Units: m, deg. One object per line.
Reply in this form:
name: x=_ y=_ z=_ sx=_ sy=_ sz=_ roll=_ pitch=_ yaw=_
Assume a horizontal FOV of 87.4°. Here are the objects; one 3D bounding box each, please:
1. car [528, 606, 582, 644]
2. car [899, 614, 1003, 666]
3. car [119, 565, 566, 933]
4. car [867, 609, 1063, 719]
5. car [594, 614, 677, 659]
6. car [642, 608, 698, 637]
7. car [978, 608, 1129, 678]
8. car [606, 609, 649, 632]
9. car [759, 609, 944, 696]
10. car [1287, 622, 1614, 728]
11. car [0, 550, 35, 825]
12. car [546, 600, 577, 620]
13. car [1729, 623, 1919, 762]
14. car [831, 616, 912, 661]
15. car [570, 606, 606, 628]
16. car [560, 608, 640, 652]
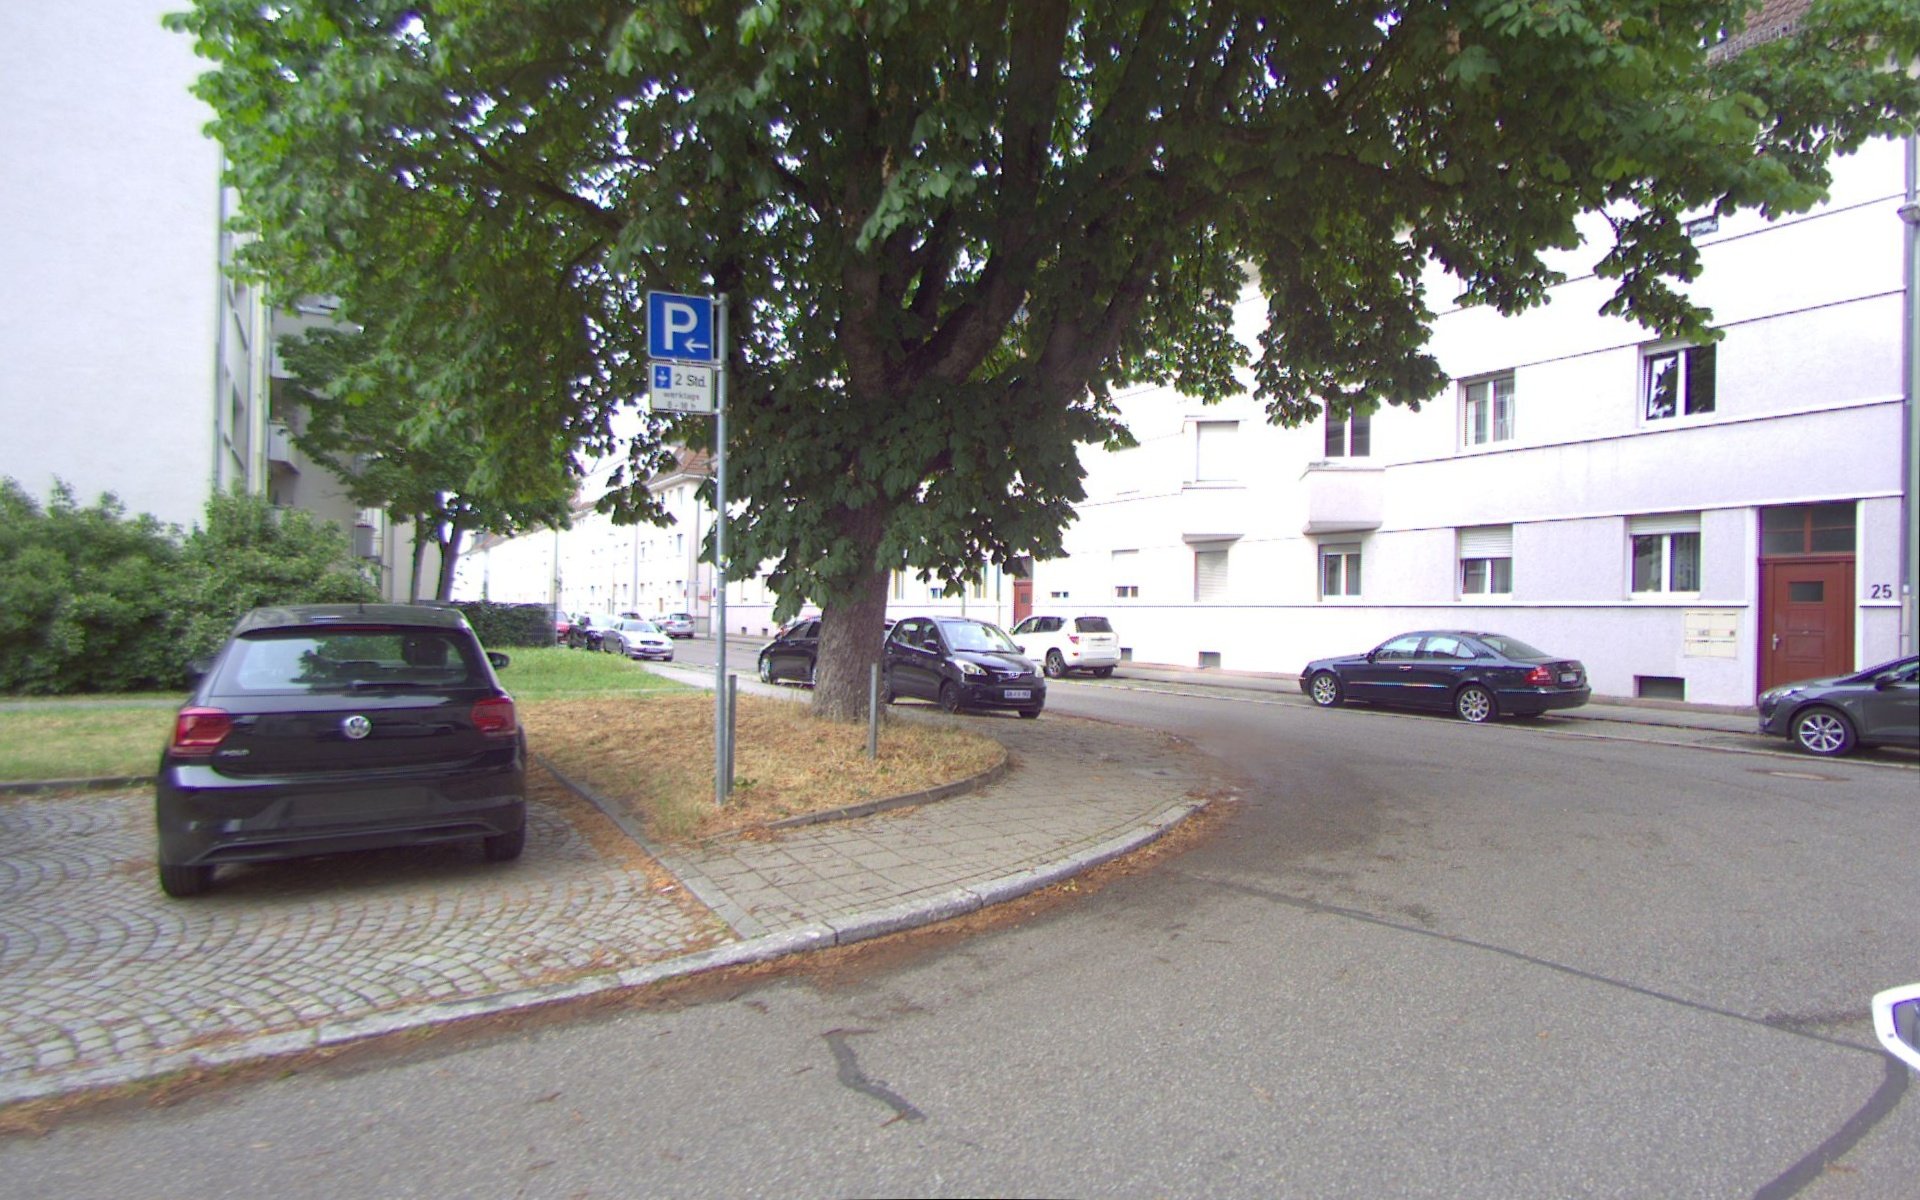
car: x=-18.712 y=1.139 z=46.303 sx=1.552 sy=1.589 sz=3.608 roll=5 pitch=-2 yaw=-33
car: x=-0.342 y=1.225 z=31.877 sx=1.554 sy=1.498 sz=3.838 roll=1 pitch=0 yaw=-31
car: x=-3.802 y=0.668 z=6.481 sx=1.809 sy=1.598 sz=3.812 roll=1 pitch=-1 yaw=-30
car: x=-0.029 y=0.958 z=16.068 sx=1.512 sy=1.513 sz=3.563 roll=4 pitch=-2 yaw=-29
car: x=-10.859 y=1.187 z=33.470 sx=1.684 sy=1.275 sz=3.980 roll=4 pitch=-2 yaw=-32
car: x=-16.378 y=1.243 z=56.621 sx=1.743 sy=1.487 sz=4.557 roll=3 pitch=-1 yaw=-34
car: x=2.447 y=1.099 z=27.258 sx=1.829 sy=1.696 sz=4.248 roll=0 pitch=0 yaw=-34
car: x=-21.790 y=1.303 z=65.780 sx=1.658 sy=1.439 sz=3.963 roll=2 pitch=-1 yaw=-33
car: x=-2.363 y=1.002 z=20.577 sx=1.853 sy=1.483 sz=4.793 roll=5 pitch=-2 yaw=-31
car: x=8.233 y=1.157 z=17.384 sx=1.732 sy=1.440 sz=4.903 roll=1 pitch=0 yaw=-33
car: x=-6.103 y=0.545 z=4.503 sx=1.893 sy=1.720 sz=4.037 roll=2 pitch=0 yaw=-29
car: x=-34.058 y=0.881 z=85.814 sx=1.806 sy=1.598 sz=3.719 roll=2 pitch=-1 yaw=-32
car: x=11.868 y=1.100 z=11.898 sx=1.744 sy=1.545 sz=4.041 roll=1 pitch=0 yaw=-34
car: x=-3.290 y=1.369 z=36.860 sx=1.554 sy=1.493 sz=3.665 roll=1 pitch=0 yaw=-31
car: x=-27.960 y=1.237 z=75.469 sx=1.806 sy=1.524 sz=3.719 roll=2 pitch=-1 yaw=-32
car: x=-13.617 y=1.086 z=37.813 sx=1.828 sy=1.440 sz=4.588 roll=4 pitch=-2 yaw=-32
